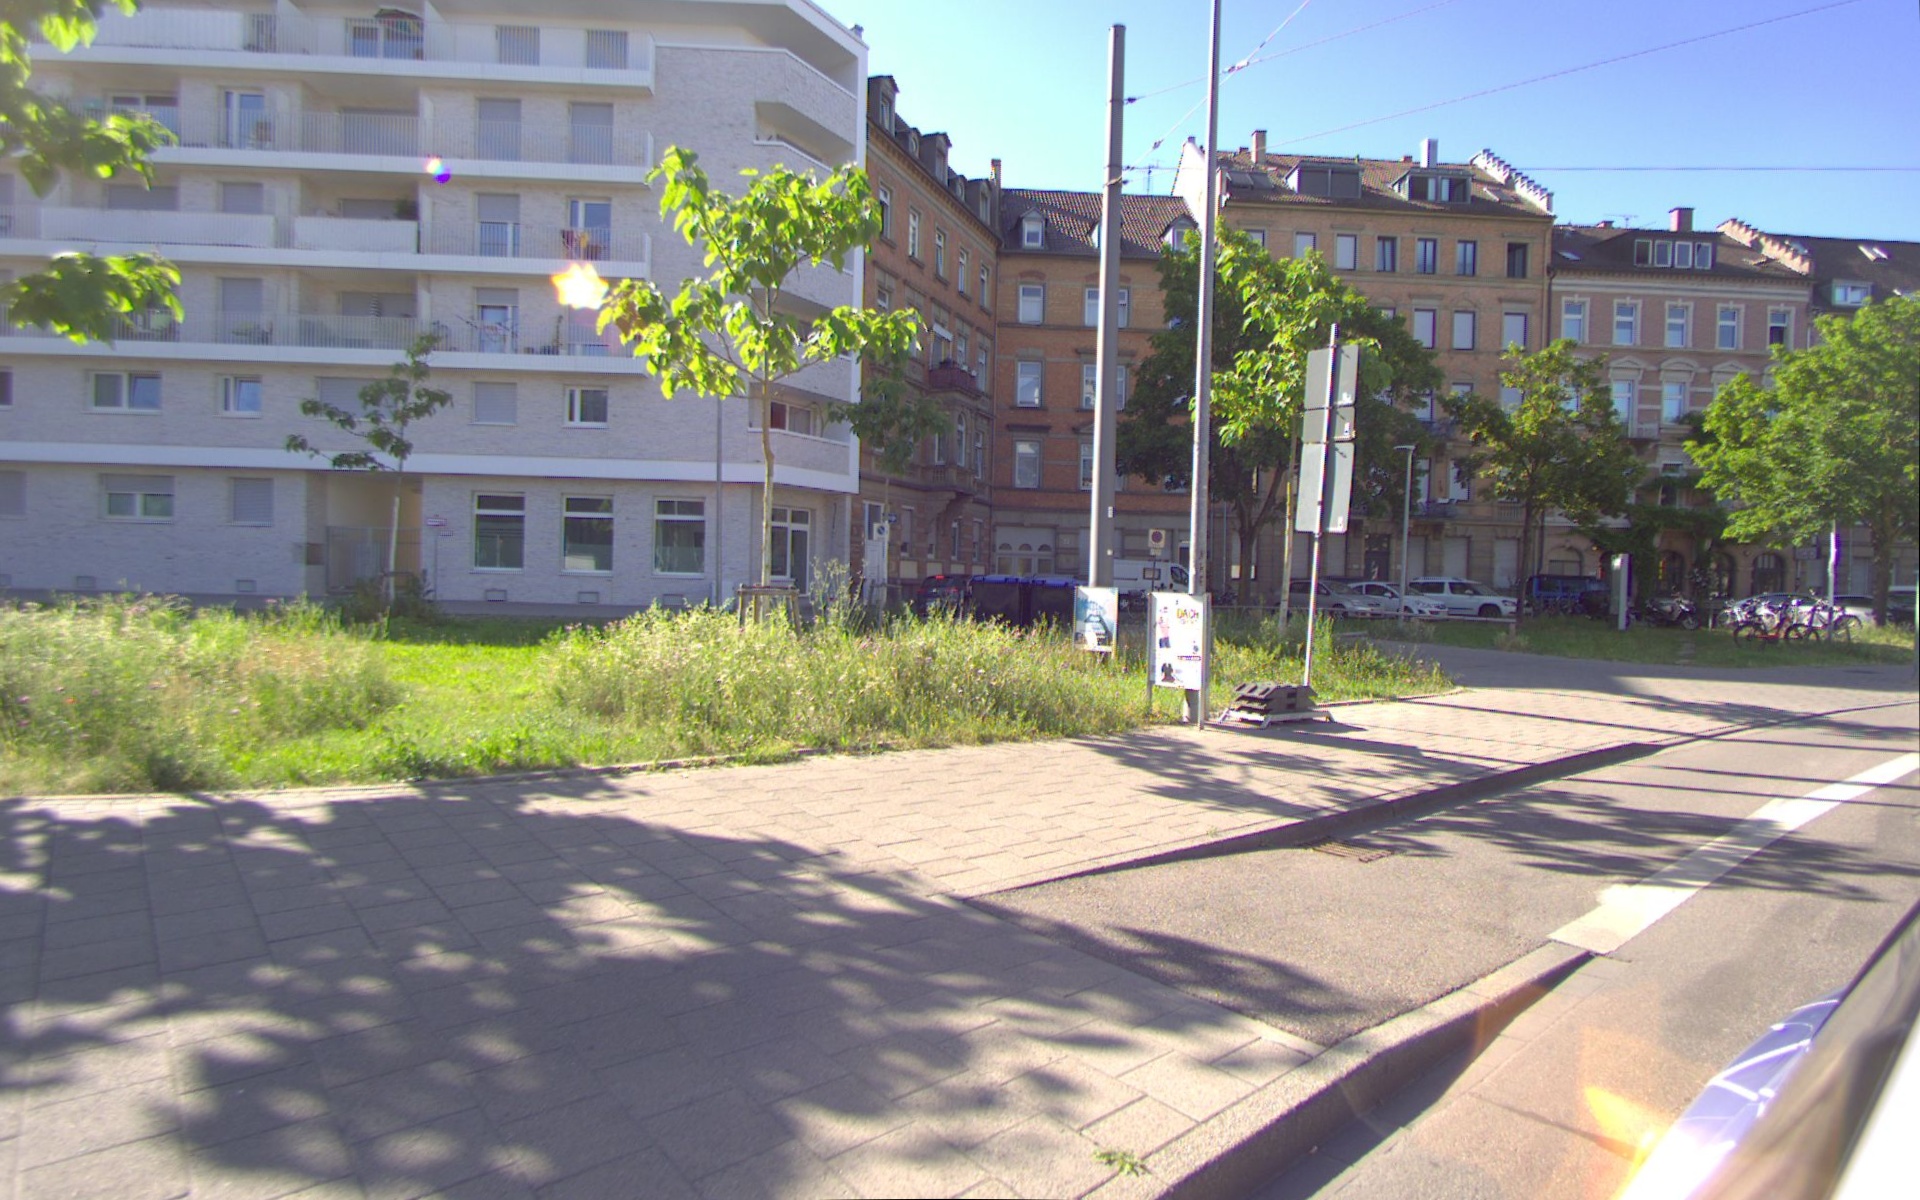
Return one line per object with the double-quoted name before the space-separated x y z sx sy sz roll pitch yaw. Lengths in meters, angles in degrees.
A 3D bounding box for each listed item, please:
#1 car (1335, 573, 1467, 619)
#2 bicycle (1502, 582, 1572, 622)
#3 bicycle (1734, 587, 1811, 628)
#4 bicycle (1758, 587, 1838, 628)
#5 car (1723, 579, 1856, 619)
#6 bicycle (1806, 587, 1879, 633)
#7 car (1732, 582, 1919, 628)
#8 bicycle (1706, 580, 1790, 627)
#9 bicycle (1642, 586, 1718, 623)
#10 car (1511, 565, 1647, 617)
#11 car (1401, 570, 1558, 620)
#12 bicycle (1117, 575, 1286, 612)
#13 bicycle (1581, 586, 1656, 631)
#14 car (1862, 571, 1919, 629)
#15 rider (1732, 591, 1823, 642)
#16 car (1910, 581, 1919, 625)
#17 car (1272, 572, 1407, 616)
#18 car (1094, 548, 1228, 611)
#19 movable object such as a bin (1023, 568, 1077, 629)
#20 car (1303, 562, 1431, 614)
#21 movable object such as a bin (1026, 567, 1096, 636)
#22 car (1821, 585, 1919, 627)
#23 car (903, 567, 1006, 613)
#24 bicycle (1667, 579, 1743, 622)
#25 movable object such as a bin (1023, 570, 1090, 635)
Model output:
"car" 15.141 -0.159 34.932 1.726 1.459 3.846 1 1 -33
"bicycle" 21.190 0.065 37.211 0.774 1.382 2.096 0 1 -43
"bicycle" 26.535 0.215 33.094 0.825 1.206 1.966 1 3 -3
"bicycle" 27.436 0.230 33.195 0.882 1.195 1.953 1 3 -3
"car" 36.953 -0.069 45.149 4.422 1.547 2.004 2 3 -6
"bicycle" 27.143 0.291 31.154 1.589 1.306 0.760 4 3 38
"car" 30.479 0.140 35.731 2.007 1.397 4.753 1 1 -36
"bicycle" 24.626 0.085 31.678 0.771 1.382 2.103 1 1 -8
"bicycle" 24.037 0.127 33.845 0.806 1.173 2.172 1 1 -6
"car" 26.976 -0.414 44.204 4.632 2.001 2.002 2 3 -2
"car" 17.943 -0.211 35.158 1.900 1.585 4.473 1 1 -33
"bicycle" 8.428 -0.242 35.632 5.115 1.141 2.687 1 1 -7
"bicycle" 21.737 0.262 33.470 0.771 1.416 2.105 1 1 -13
"car" 36.087 0.069 36.541 2.061 2.037 4.882 -1 4 -36
"rider" 20.360 0.405 25.234 1.652 1.191 0.501 -2 0 15
"car" 38.716 0.236 37.352 2.059 1.667 4.887 -1 4 -31
"car" 12.816 -0.229 34.436 1.802 1.354 4.062 1 1 -30
"car" 8.460 -0.906 43.005 5.087 2.386 2.359 2 3 -2
"movable object such as a bin" 2.189 -0.043 24.421 1.076 1.416 1.026 2 1 18
"car" 17.587 -0.550 43.901 4.632 2.001 2.002 2 3 -2
"movable object such as a bin" 2.200 0.017 21.902 1.286 1.416 1.066 2 1 18
"car" 33.342 0.220 36.117 1.889 1.397 3.615 1 1 -36
"car" -0.119 -0.362 34.402 1.979 1.454 4.074 1 1 24
"bicycle" 24.974 -0.012 33.973 0.771 1.382 2.103 1 1 -8
"movable object such as a bin" 2.215 0.041 23.140 1.303 1.416 1.105 2 1 18
